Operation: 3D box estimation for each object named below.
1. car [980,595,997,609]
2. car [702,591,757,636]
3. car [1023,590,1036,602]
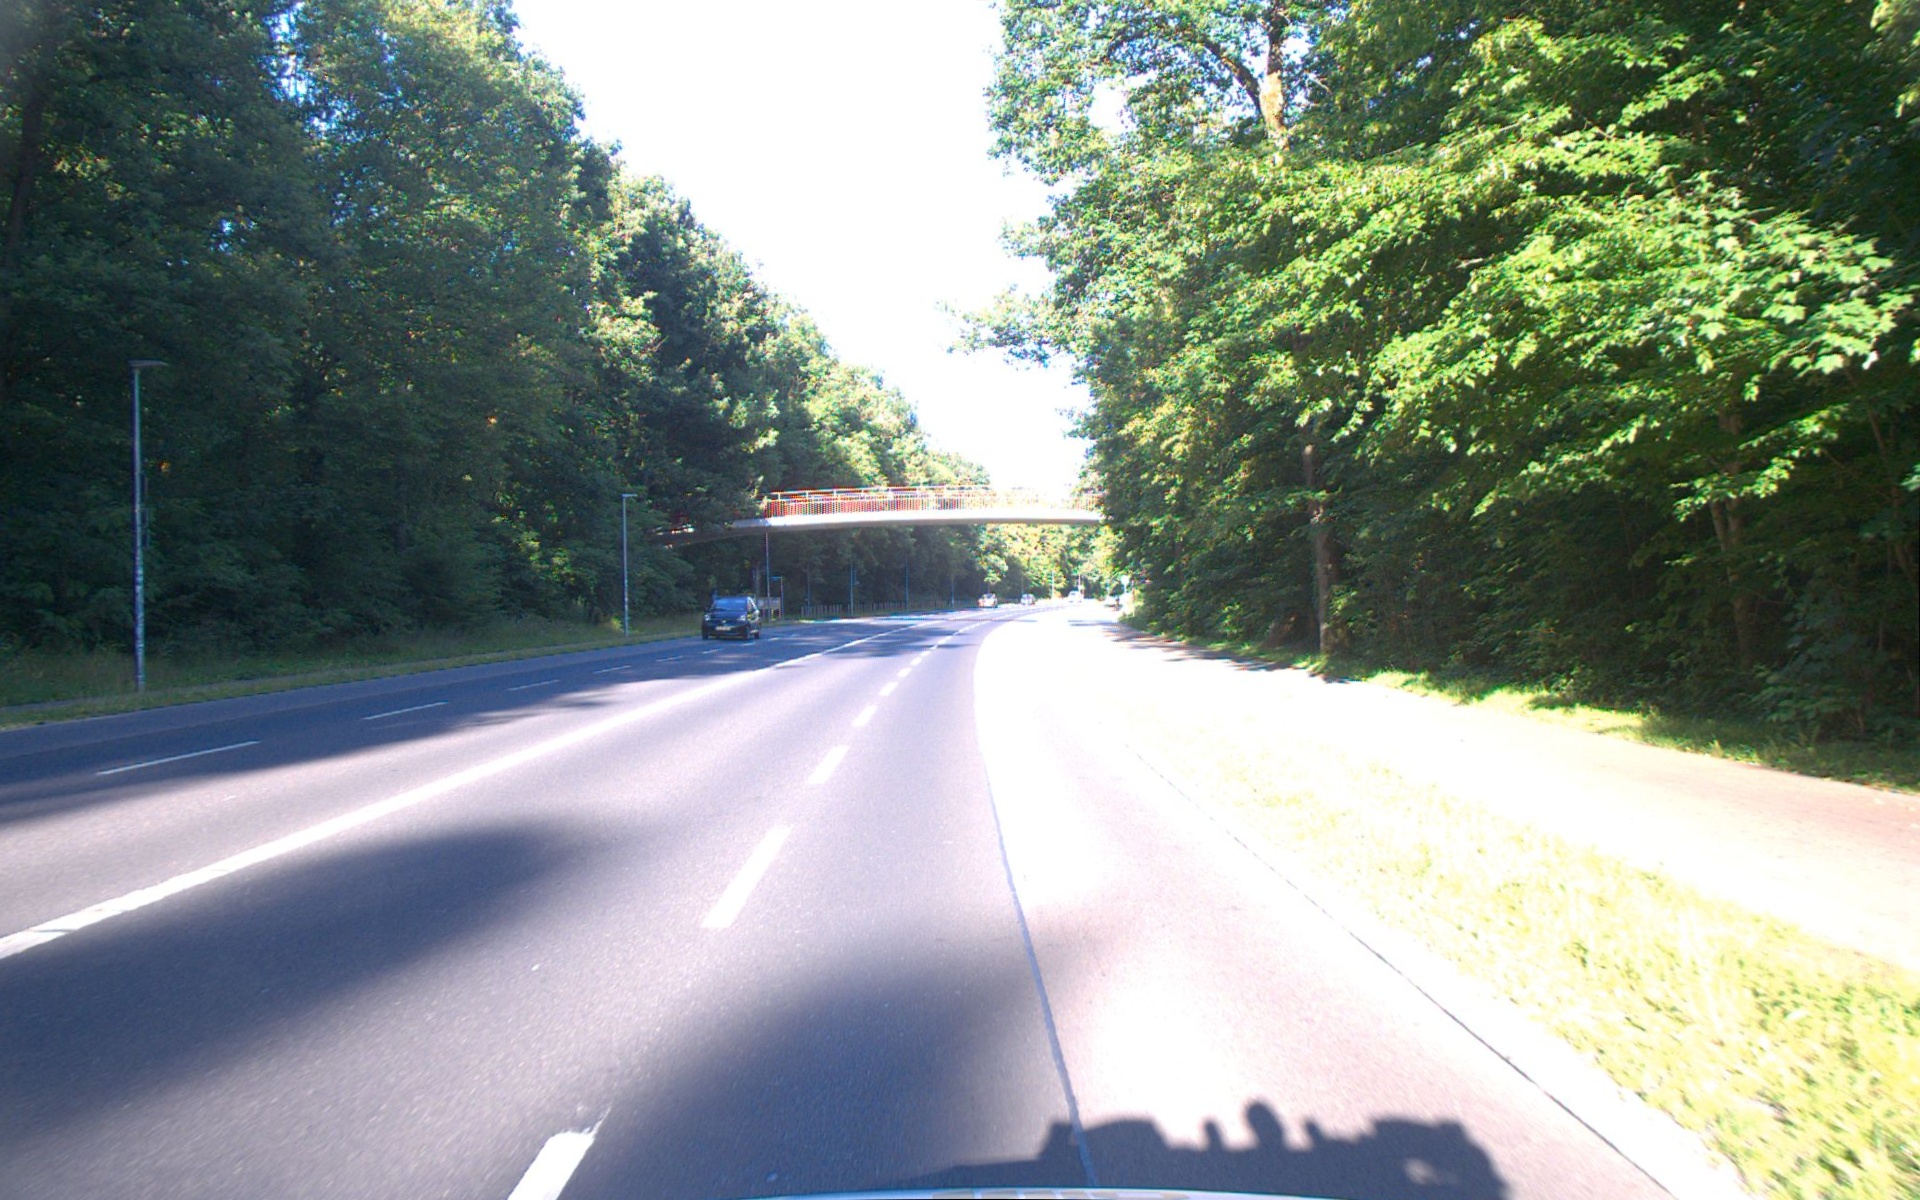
[{"bbox_3d":[3.217,0.201,187.293,1.724,1.610,4.171,1,0,4],"label":"car"},{"bbox_3d":[-7.844,0.438,56.488,1.465,1.469,3.499,0,0,-2],"label":"car"},{"bbox_3d":[9.488,-0.531,225.824,1.686,1.601,4.180,1,1,5],"label":"car"}]
